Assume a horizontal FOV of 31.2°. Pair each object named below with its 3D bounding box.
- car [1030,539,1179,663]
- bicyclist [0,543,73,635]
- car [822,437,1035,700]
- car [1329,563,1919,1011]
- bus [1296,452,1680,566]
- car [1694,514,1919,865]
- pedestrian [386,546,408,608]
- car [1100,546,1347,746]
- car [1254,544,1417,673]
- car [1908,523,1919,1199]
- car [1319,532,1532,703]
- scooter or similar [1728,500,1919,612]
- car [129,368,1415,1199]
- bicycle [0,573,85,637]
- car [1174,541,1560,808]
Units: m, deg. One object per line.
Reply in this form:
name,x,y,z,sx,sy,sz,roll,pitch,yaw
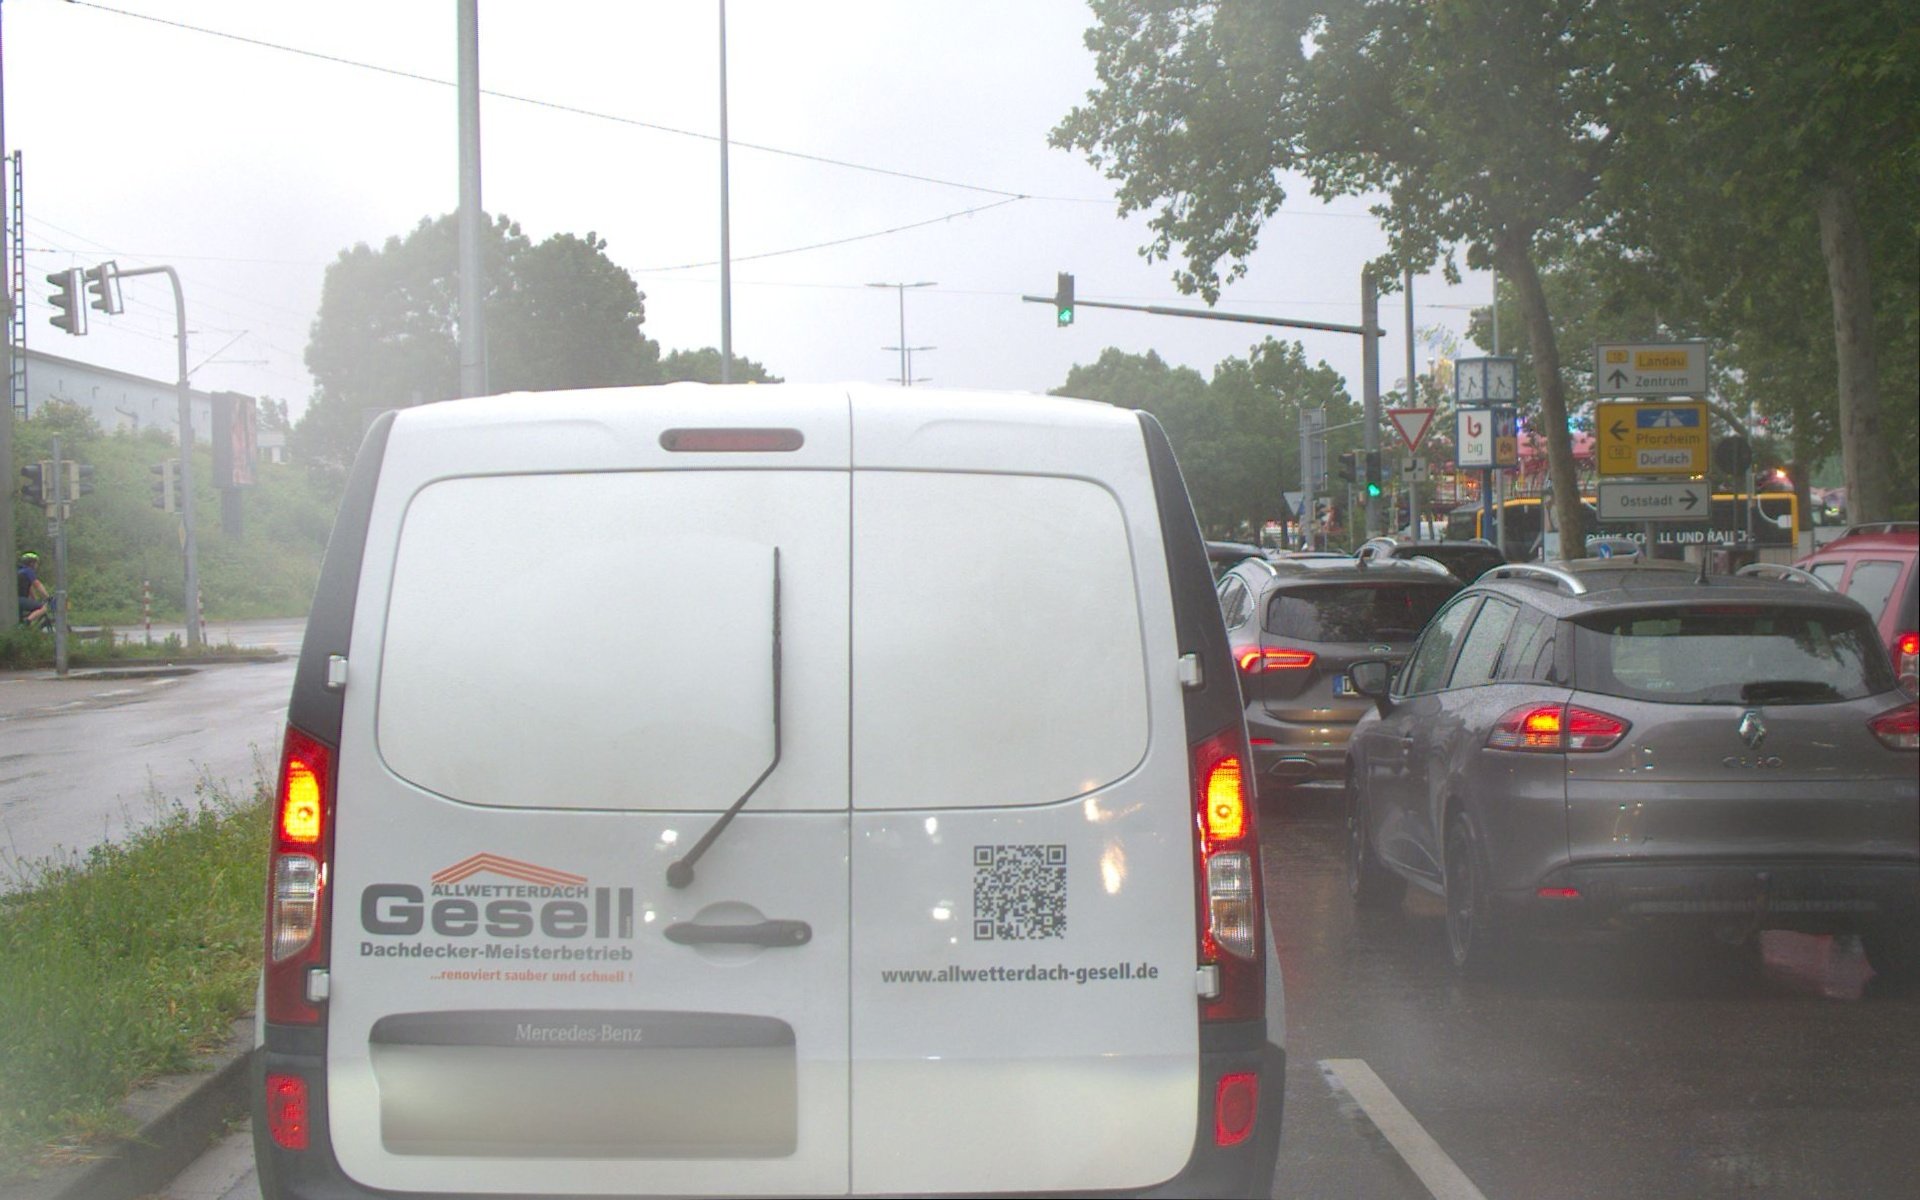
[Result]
car,1.953,-0.003,47.602,1.854,1.644,3.843,0,1,-1
bicyclist,-14.912,-0.188,55.439,1.040,1.445,0.729,-2,2,-25
car,-0.296,-0.314,31.946,1.854,2.288,3.843,0,1,-1
car,2.508,0.591,13.106,1.683,1.403,3.843,1,1,-1
bus,16.955,-2.925,110.870,11.970,3.411,2.315,-1,1,0
car,5.338,0.429,18.692,1.710,1.688,4.272,1,0,-1
pedestrian,-15.695,-0.645,95.892,0.543,1.710,0.563,1,0,-4
car,2.277,0.356,30.617,1.854,1.644,3.843,0,1,-1
car,4.971,0.088,45.953,1.708,1.644,3.843,0,1,-1
car,2.979,0.646,5.403,1.747,1.549,4.091,0,1,-1
car,4.926,0.140,36.809,1.708,1.722,3.843,0,1,-1
scooter or similar,19.984,-0.991,77.056,1.890,2.437,5.316,-1,1,-41
car,-0.315,0.479,7.645,1.993,1.770,4.585,0,1,-1
bicycle,-14.945,0.062,55.508,1.040,0.949,2.889,-2,2,-25
car,2.374,0.382,20.944,1.854,1.455,3.843,0,1,-1
